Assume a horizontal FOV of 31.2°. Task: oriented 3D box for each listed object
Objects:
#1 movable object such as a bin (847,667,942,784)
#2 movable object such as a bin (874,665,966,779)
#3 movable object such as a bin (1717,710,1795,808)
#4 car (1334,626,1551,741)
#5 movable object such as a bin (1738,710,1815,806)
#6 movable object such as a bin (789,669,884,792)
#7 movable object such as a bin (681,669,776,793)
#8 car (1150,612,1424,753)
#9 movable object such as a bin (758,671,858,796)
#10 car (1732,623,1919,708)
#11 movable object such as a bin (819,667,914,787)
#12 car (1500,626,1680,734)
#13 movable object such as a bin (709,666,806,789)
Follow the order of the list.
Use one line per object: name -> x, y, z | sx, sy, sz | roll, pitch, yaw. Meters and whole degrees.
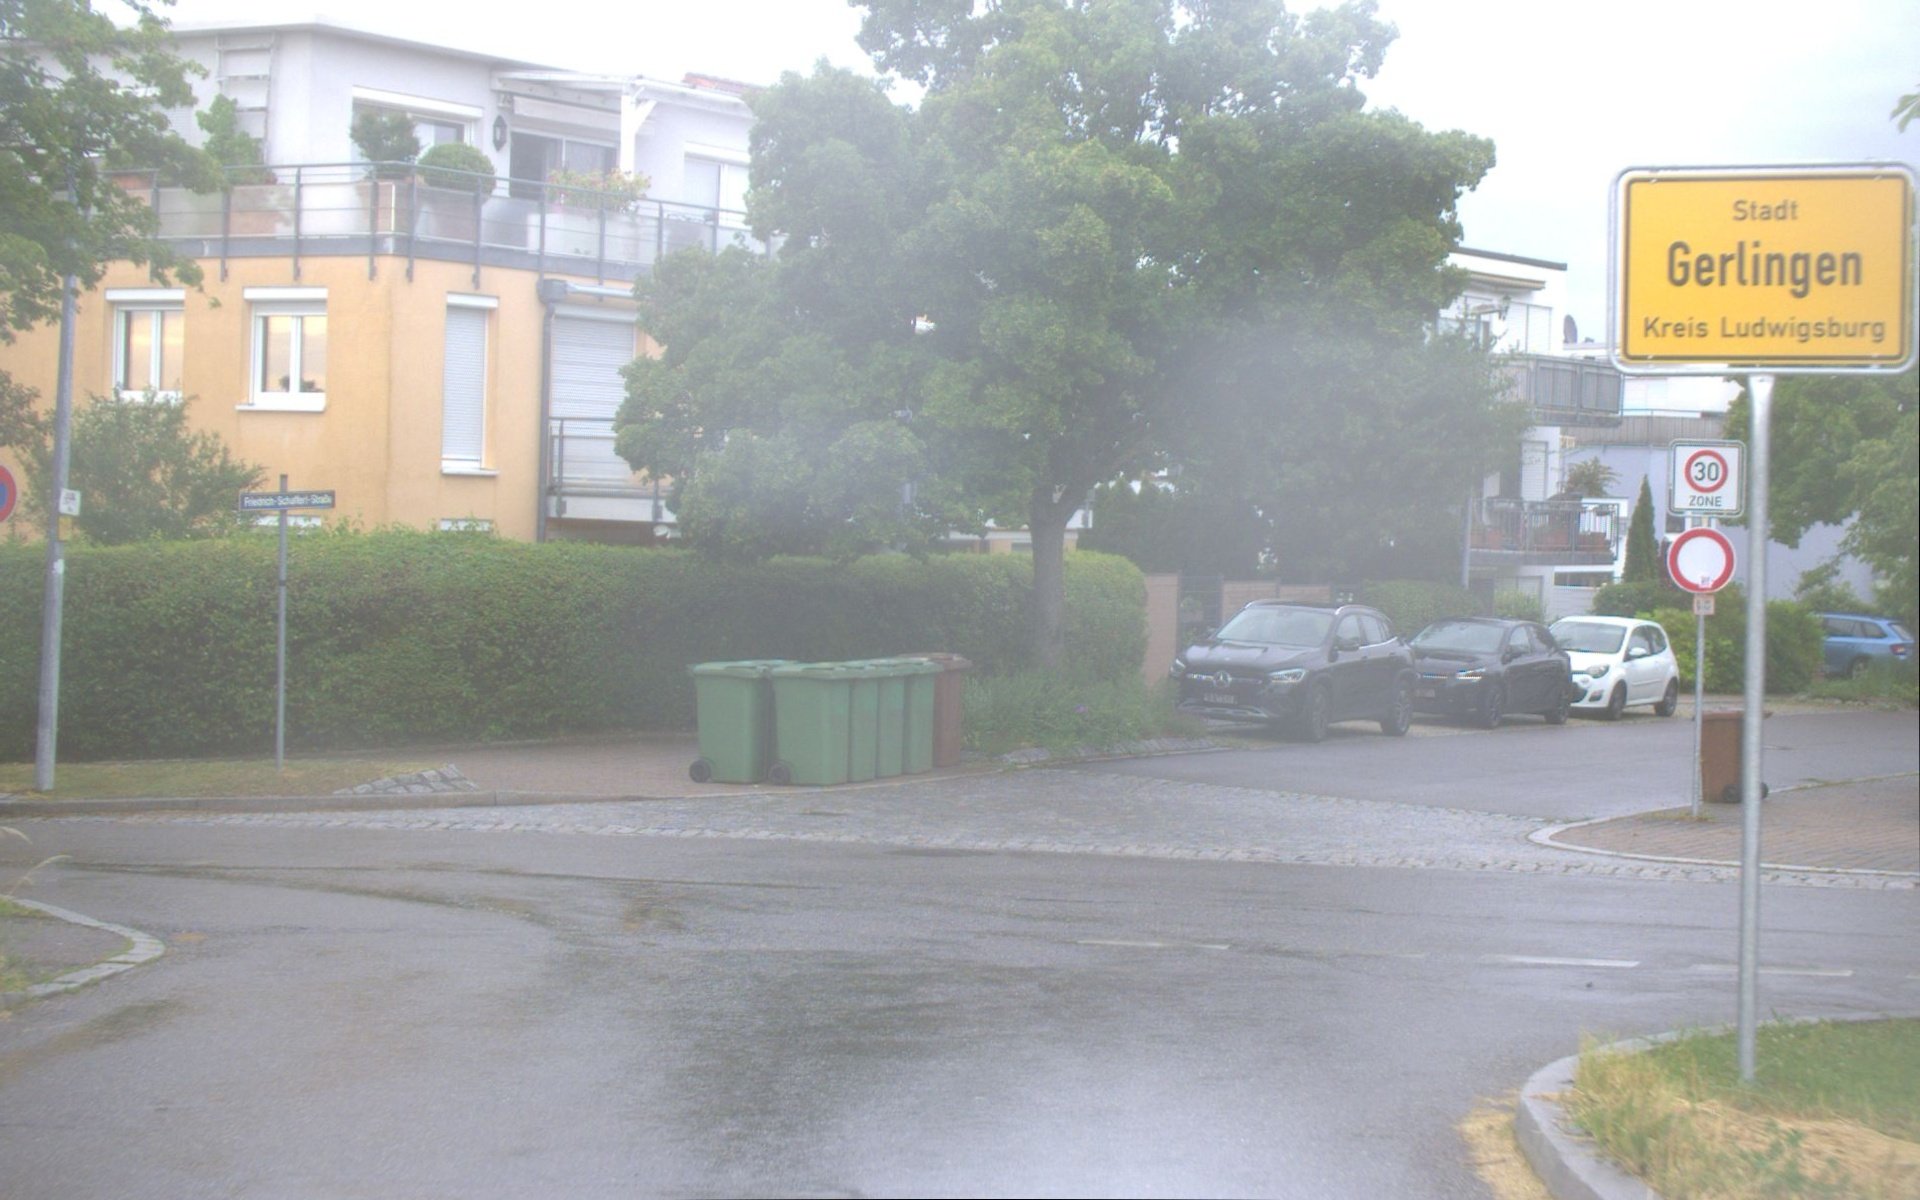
movable object such as a bin -> -0.609, 1.163, 32.113 | 0.695, 1.051, 0.605 | 1, 0, 20
movable object such as a bin -> -0.377, 1.161, 32.844 | 0.695, 1.051, 0.605 | 1, 0, 20
movable object such as a bin -> 7.867, 1.568, 33.972 | 0.571, 0.928, 0.529 | 2, 0, 33
car -> 6.613, 1.116, 46.847 | 1.638, 1.404, 3.598 | 4, 1, 30
movable object such as a bin -> 8.185, 1.580, 34.454 | 0.571, 0.928, 0.529 | 2, 0, 33
movable object such as a bin -> -1.111, 1.167, 31.011 | 0.695, 1.071, 0.543 | 1, 0, 20
movable object such as a bin -> -2.066, 1.162, 30.645 | 0.666, 1.070, 0.543 | 1, 0, 21
car -> 4.017, 0.980, 41.690 | 1.778, 1.513, 4.131 | 4, 1, 28
movable object such as a bin -> -1.347, 1.176, 30.452 | 0.695, 1.071, 0.601 | 1, 0, 20
car -> 18.281, 1.360, 71.461 | 3.992, 1.563, 1.906 | 2, 0, 25
movable object such as a bin -> -0.860, 1.159, 31.545 | 0.695, 1.063, 0.578 | 1, 0, 20
car -> 9.417, 1.178, 51.246 | 1.513, 1.471, 3.267 | 4, 1, 31
movable object such as a bin -> -1.838, 1.150, 31.229 | 0.695, 1.069, 0.597 | 1, 0, 20
